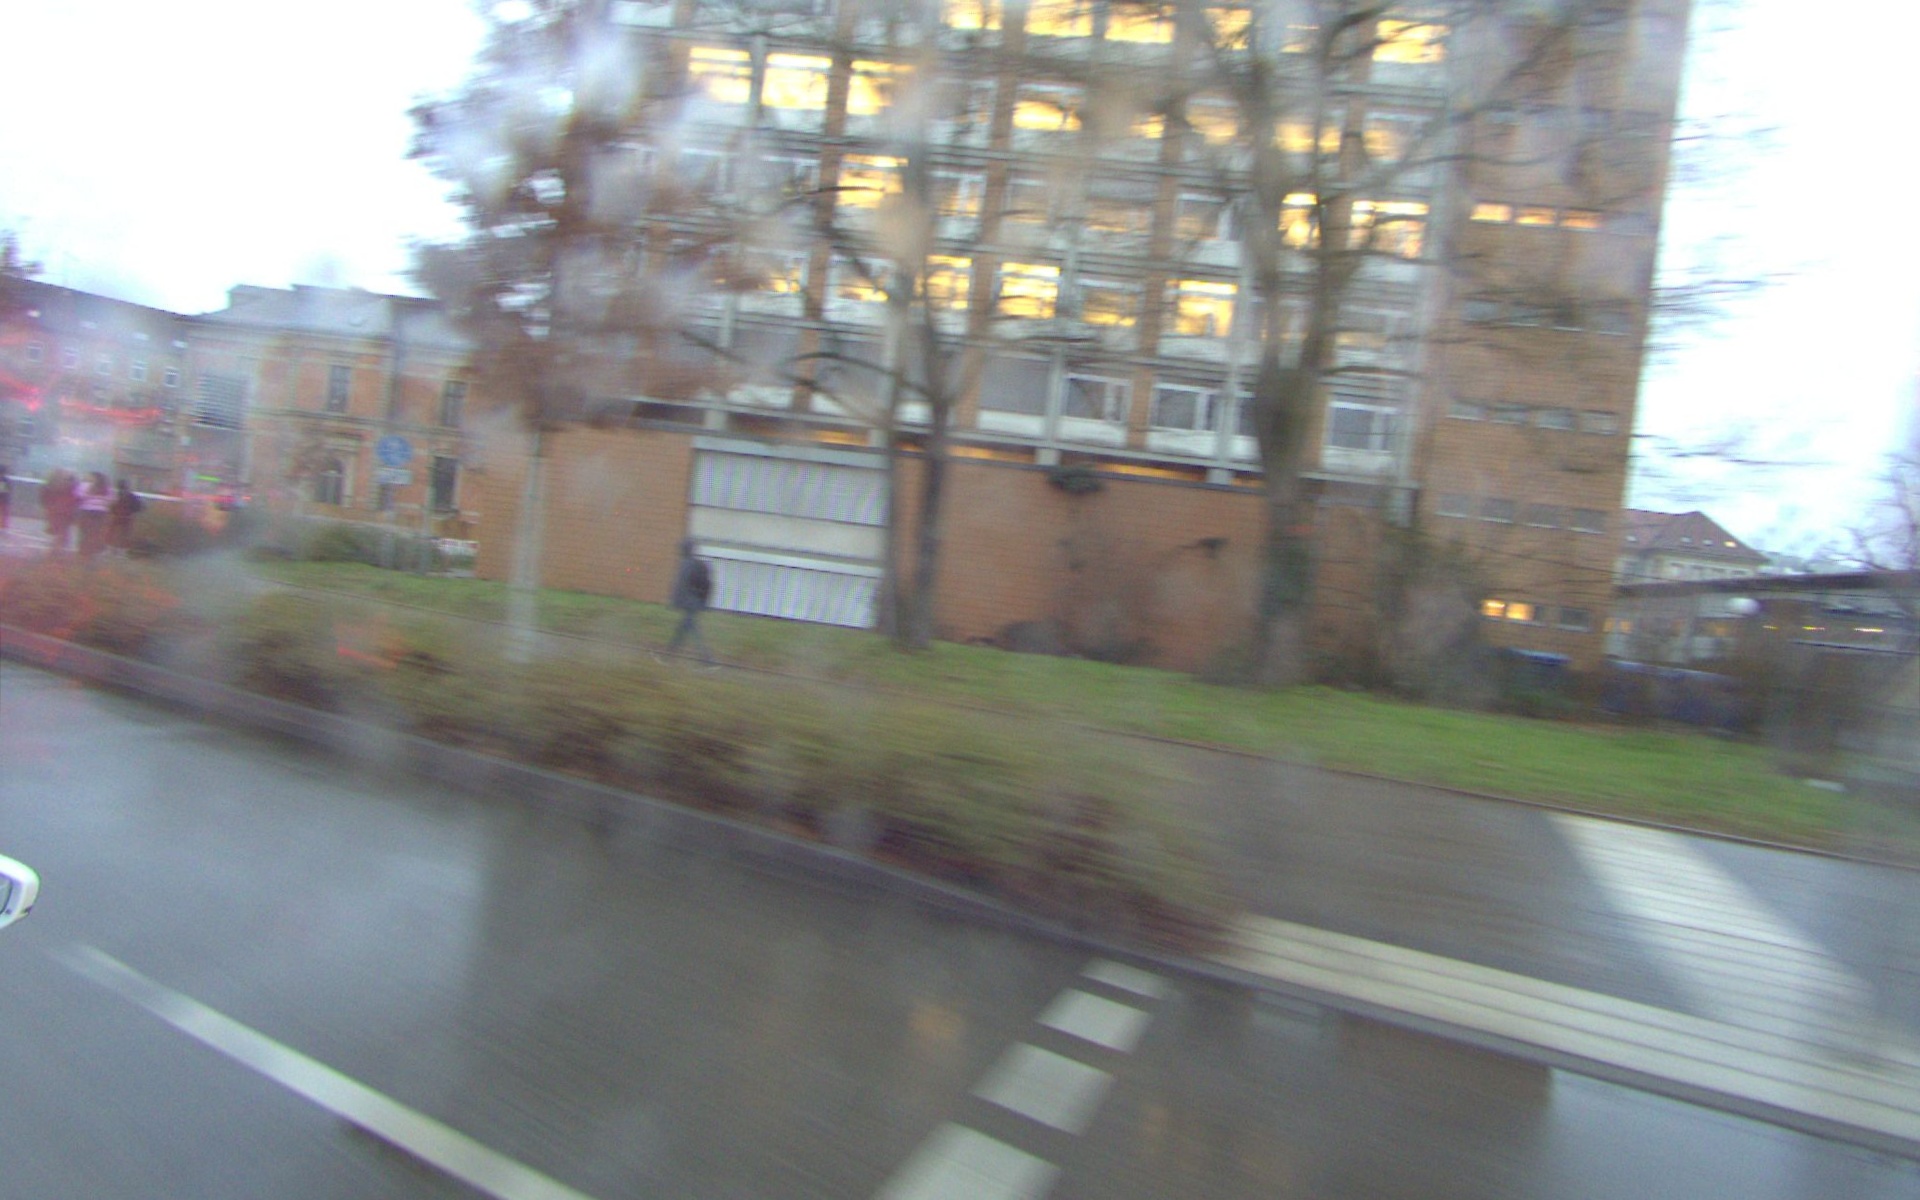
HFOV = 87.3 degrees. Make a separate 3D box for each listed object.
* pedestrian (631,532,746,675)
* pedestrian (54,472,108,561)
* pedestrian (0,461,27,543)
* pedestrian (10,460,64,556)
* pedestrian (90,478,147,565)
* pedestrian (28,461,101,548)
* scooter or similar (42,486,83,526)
[{"bbox_3d":[-3.529,0.036,13.090,1.051,1.710,0.808,7,3,27],"label":"pedestrian"},{"bbox_3d":[-17.848,-1.689,20.430,0.662,1.711,0.606,4,4,-32],"label":"pedestrian"},{"bbox_3d":[-24.824,-2.554,25.957,0.802,2.039,0.753,8,2,-32],"label":"pedestrian"},{"bbox_3d":[-18.387,-1.814,20.057,0.579,1.805,0.762,4,2,-31],"label":"pedestrian"},{"bbox_3d":[-17.642,-1.633,21.104,0.713,1.709,0.753,5,2,-32],"label":"pedestrian"},{"bbox_3d":[-20.230,-2.142,22.746,0.735,1.814,0.854,7,1,11],"label":"pedestrian"},{"bbox_3d":[-30.961,-3.235,34.703,0.507,1.229,1.376,6,1,-21],"label":"scooter or similar"}]
